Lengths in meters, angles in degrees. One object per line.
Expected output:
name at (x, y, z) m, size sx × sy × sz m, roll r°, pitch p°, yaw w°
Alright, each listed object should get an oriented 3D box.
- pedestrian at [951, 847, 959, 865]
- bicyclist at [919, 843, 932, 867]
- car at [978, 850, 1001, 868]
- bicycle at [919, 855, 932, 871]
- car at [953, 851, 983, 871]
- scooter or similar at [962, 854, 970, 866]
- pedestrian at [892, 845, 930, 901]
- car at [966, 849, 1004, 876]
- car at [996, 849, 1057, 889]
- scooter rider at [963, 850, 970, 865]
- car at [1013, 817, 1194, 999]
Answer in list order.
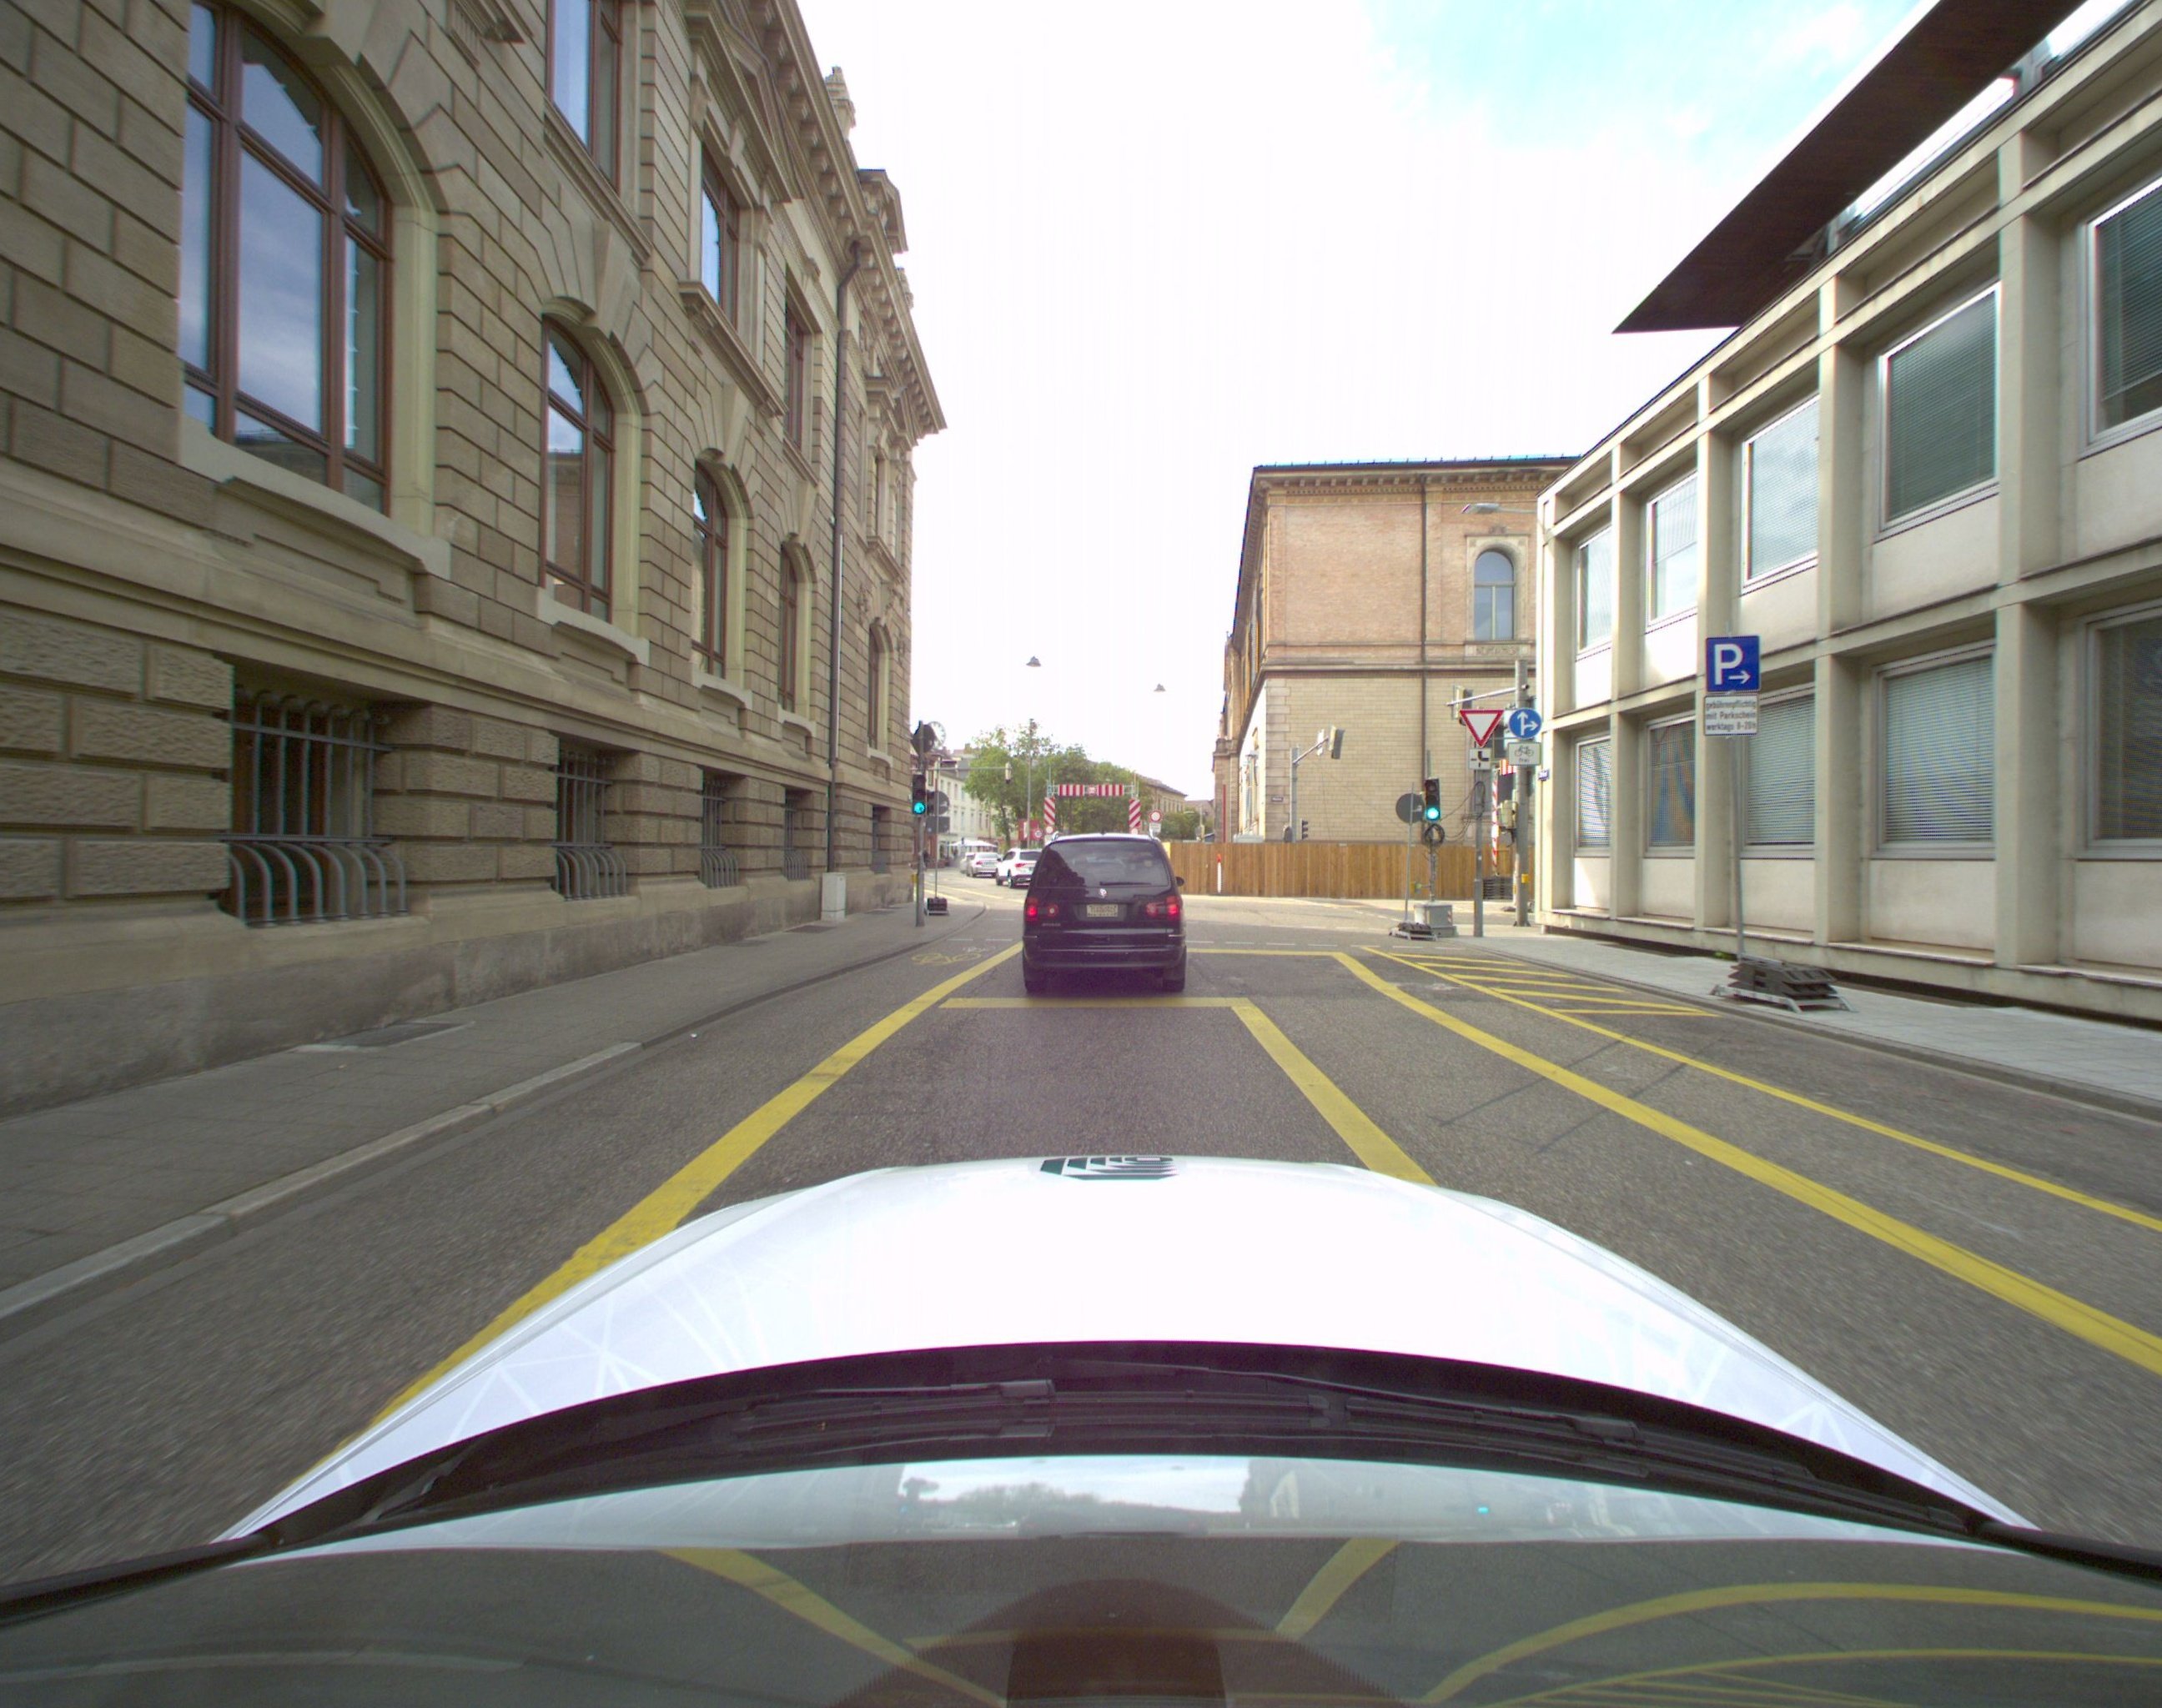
pedestrian at (-13.686, 0.231, 88.321) m, size 0.581 × 2.014 × 0.689 m, roll 0°, pitch -1°, yaw 15°
bicyclist at (-12.540, 0.089, 65.773) m, size 0.925 × 1.963 × 1.102 m, roll 0°, pitch -1°, yaw -8°
car at (-8.101, 0.431, 72.145) m, size 1.769 × 1.586 × 3.995 m, roll 0°, pitch 0°, yaw -3°
bicycle at (-12.551, 0.698, 65.789) m, size 0.925 × 1.255 × 2.534 m, roll 0°, pitch -1°, yaw -8°
car at (-7.681, 0.452, 55.156) m, size 1.651 × 1.321 × 3.659 m, roll 0°, pitch -1°, yaw -13°
scooter or similar at (-11.994, 0.660, 84.888) m, size 0.597 × 1.255 × 1.553 m, roll 0°, pitch -1°, yaw 3°
pedestrian at (-5.746, 0.640, 27.541) m, size 1.041 × 1.819 × 0.795 m, roll 2°, pitch -1°, yaw 1°
car at (-5.469, 0.474, 46.162) m, size 1.705 × 1.501 × 3.982 m, roll 0°, pitch -1°, yaw -13°
car at (-2.395, 0.608, 34.798) m, size 1.777 × 1.586 × 3.977 m, roll 0°, pitch -1°, yaw -17°
scooter rider at (-11.988, 0.356, 84.947) m, size 0.597 × 1.490 × 0.680 m, roll 0°, pitch -1°, yaw 2°
car at (0.331, 0.549, 10.154) m, size 1.782 × 1.790 × 4.106 m, roll 1°, pitch 0°, yaw 3°
